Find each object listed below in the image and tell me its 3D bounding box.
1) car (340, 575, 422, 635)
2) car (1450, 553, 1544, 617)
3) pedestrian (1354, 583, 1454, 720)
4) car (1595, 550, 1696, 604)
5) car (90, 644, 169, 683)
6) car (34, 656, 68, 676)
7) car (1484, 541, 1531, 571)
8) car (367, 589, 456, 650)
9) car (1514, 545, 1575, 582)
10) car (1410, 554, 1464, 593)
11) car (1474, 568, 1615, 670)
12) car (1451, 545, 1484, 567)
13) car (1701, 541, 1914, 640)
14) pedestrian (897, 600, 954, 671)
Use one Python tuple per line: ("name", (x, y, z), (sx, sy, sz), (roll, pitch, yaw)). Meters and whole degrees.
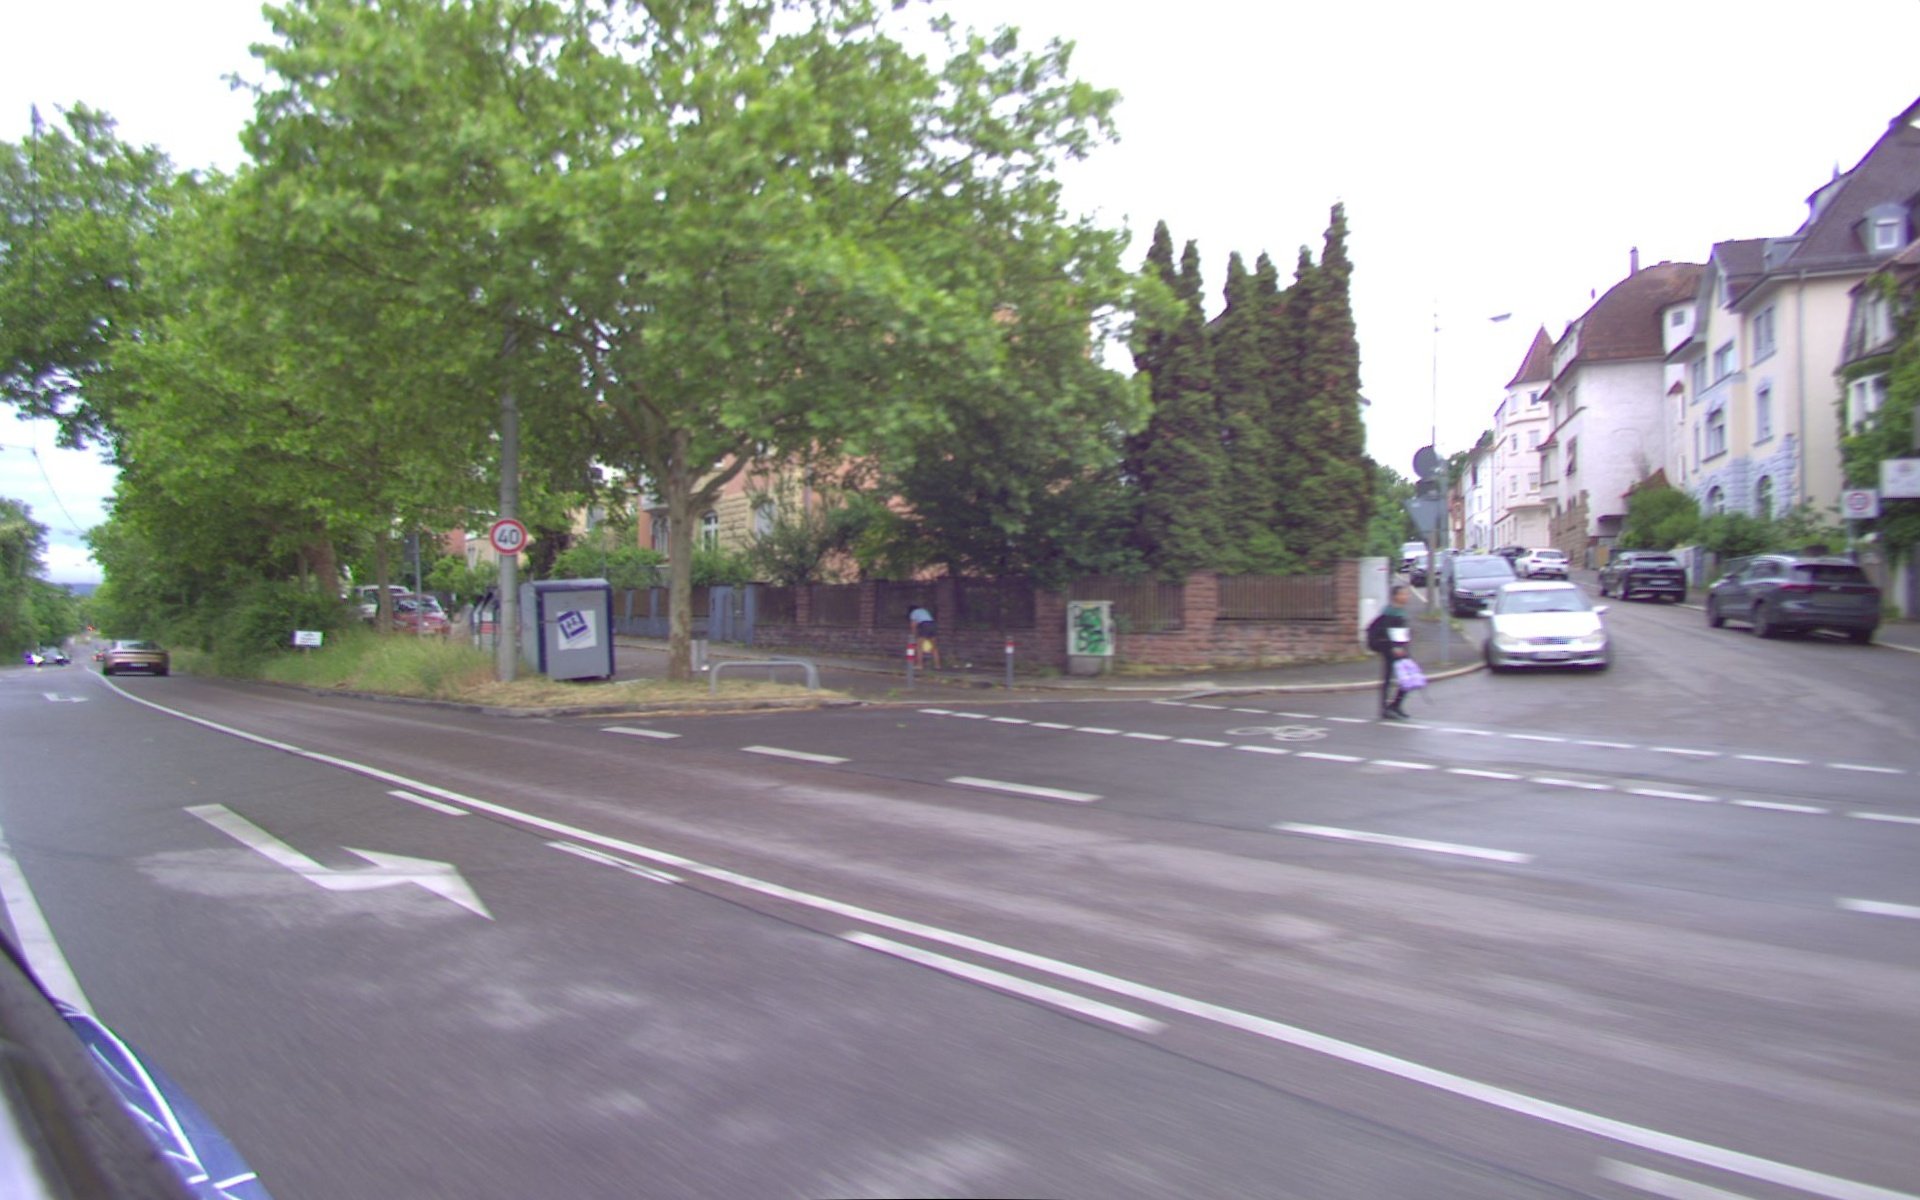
("car", (-21.749, 0.204, 37.937), (1.968, 2.029, 4.636), (-1, -2, -38))
("car", (14.998, -0.473, 28.443), (1.875, 1.395, 4.236), (-3, 4, 23))
("pedestrian", (5.625, 0.643, 12.822), (0.992, 1.642, 0.880), (-3, -2, 31))
("car", (22.471, -0.789, 33.346), (1.875, 1.395, 4.237), (-3, 4, 22))
("car", (-32.891, 2.482, 40.037), (2.047, 1.363, 4.716), (-1, -2, -44))
("car", (-72.852, 5.304, 81.108), (1.969, 1.453, 4.005), (-1, -2, -42))
("car", (31.609, -2.570, 58.539), (1.875, 1.395, 4.237), (-3, 4, 22))
("car", (-18.287, 0.686, 33.627), (1.807, 1.857, 4.636), (-1, -2, -38))
("car", (27.809, -1.759, 48.265), (1.875, 1.395, 4.237), (-3, 4, 22))
("car", (21.285, -1.218, 45.258), (1.875, 1.395, 4.237), (-3, 4, 22))
("car", (10.295, 0.266, 17.712), (1.881, 1.395, 4.220), (-2, 3, 33))
("car", (39.539, -3.446, 78.926), (1.875, 1.395, 4.237), (-3, 4, 22))
("car", (17.261, -0.282, 20.920), (2.064, 1.585, 4.513), (-3, 4, 23))
("pedestrian", (-0.692, 0.706, 20.188), (0.781, 1.365, 0.792), (-1, -2, -39))
